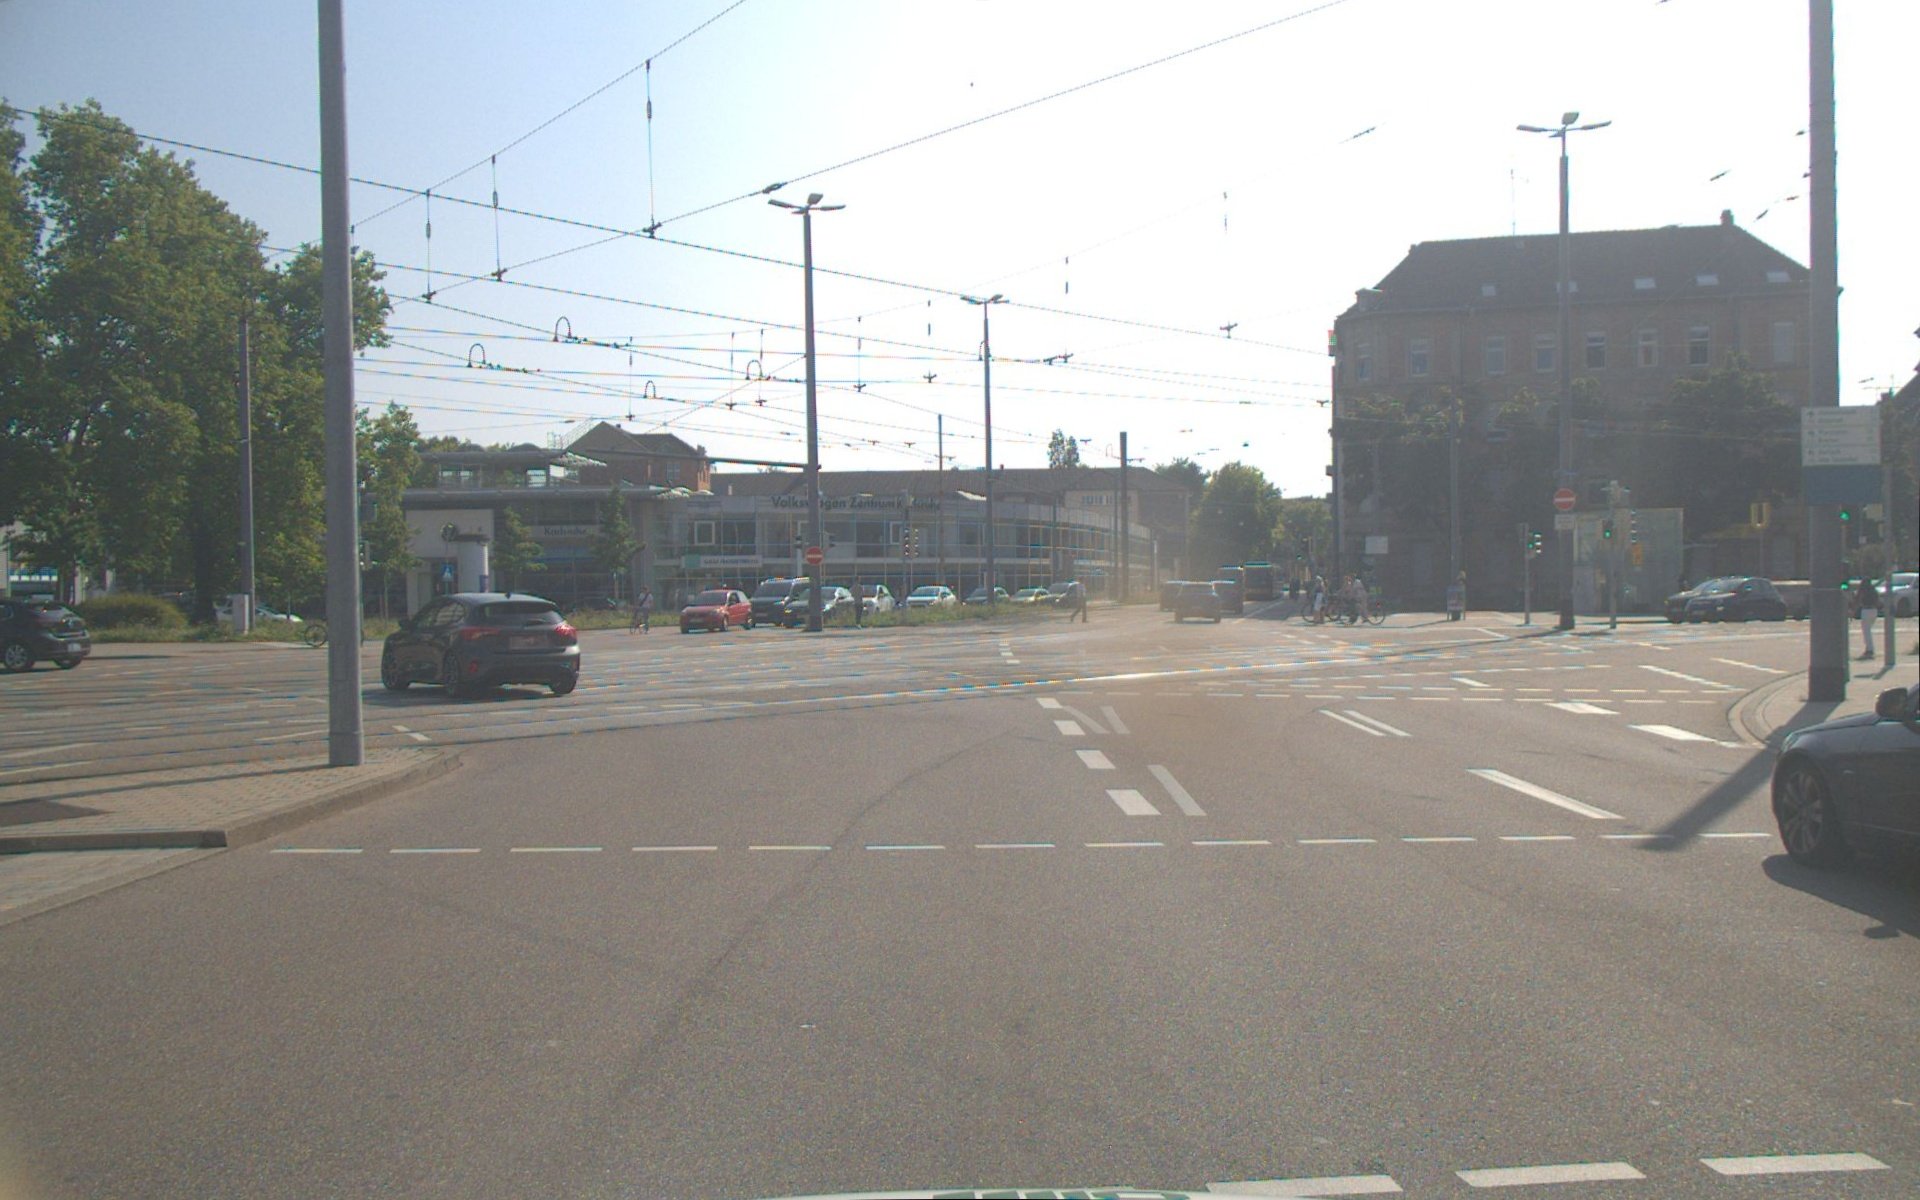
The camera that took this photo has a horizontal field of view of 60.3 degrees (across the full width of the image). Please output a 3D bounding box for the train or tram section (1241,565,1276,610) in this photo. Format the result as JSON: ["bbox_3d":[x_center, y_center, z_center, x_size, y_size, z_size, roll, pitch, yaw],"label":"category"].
[{"bbox_3d":[26.298,-1.158,145.222,2.598,3.763,10.599,-1,1,12],"label":"train or tram section"}]

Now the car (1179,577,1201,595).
[{"bbox_3d":[21.037,-1.270,151.503,1.580,1.501,4.003,-3,0,13],"label":"car"}]

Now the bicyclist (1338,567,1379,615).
[{"bbox_3d":[14.447,-0.328,59.954,0.928,1.738,1.077,-1,0,-40],"label":"bicyclist"}]

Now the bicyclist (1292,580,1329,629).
[{"bbox_3d":[13.554,0.168,63.947,0.923,1.831,1.084,-1,0,-26],"label":"bicyclist"}]

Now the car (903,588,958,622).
[{"bbox_3d":[-1.364,0.206,77.387,1.580,1.501,4.003,-3,0,13],"label":"car"}]

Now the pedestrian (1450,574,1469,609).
[{"bbox_3d":[21.183,-0.365,70.160,0.537,1.496,0.664,-1,0,43],"label":"pedestrian"}]

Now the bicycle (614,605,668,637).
[{"bbox_3d":[-11.460,0.745,59.499,0.937,1.075,2.610,0,0,13],"label":"bicycle"}]

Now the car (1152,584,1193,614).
[{"bbox_3d":[11.587,-0.063,90.018,1.786,1.562,4.416,-1,1,13],"label":"car"}]

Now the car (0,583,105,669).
[{"bbox_3d":[-19.396,0.597,32.508,4.290,1.518,1.680,-4,-2,-18],"label":"car"}]

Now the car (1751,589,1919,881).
[{"bbox_3d":[5.718,0.689,7.975,1.648,1.468,4.371,-1,0,-1],"label":"car"}]

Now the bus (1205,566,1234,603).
[{"bbox_3d":[27.412,-1.629,175.126,2.858,3.682,16.760,0,0,8],"label":"bus"}]

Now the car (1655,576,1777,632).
[{"bbox_3d":[26.628,0.111,58.236,4.193,1.891,1.890,-1,0,-31],"label":"car"}]

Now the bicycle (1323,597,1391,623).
[{"bbox_3d":[15.761,0.401,65.644,2.587,0.981,1.084,-1,1,-27],"label":"bicycle"}]

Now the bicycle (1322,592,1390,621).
[{"bbox_3d":[14.323,0.217,59.836,2.602,0.981,1.077,-1,1,-41],"label":"bicycle"}]

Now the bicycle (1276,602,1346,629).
[{"bbox_3d":[13.572,0.596,63.959,2.587,0.981,1.084,-1,1,-27],"label":"bicycle"}]

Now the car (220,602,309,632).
[{"bbox_3d":[-36.900,0.885,87.767,4.001,1.549,1.706,0,0,2],"label":"car"}]

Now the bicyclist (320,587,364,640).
[{"bbox_3d":[-18.692,0.406,50.019,1.144,1.554,0.956,-1,0,-17],"label":"bicyclist"}]

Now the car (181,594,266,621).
[{"bbox_3d":[-43.497,0.435,97.728,1.667,1.549,4.508,0,0,28],"label":"car"}]

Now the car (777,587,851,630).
[{"bbox_3d":[-5.422,0.290,61.760,1.580,1.501,4.004,-3,0,12],"label":"car"}]

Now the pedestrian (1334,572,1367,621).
[{"bbox_3d":[14.871,-0.146,62.972,0.921,1.828,0.846,-1,0,-44],"label":"pedestrian"}]

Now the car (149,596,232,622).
[{"bbox_3d":[-46.598,0.525,100.252,1.667,1.549,4.508,0,0,28],"label":"car"}]

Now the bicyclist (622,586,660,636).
[{"bbox_3d":[-11.472,0.399,59.451,0.937,1.779,1.167,0,0,13],"label":"bicyclist"}]

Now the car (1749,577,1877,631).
[{"bbox_3d":[31.059,0.112,60.195,4.642,1.891,1.892,-1,0,-29],"label":"car"}]

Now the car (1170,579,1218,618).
[{"bbox_3d":[9.261,-0.094,65.390,1.786,1.453,4.416,-1,1,8],"label":"car"}]

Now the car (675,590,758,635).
[{"bbox_3d":[-8.727,0.419,59.534,1.580,1.501,4.004,-3,0,12],"label":"car"}]

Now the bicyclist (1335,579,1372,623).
[{"bbox_3d":[15.589,0.030,65.548,0.923,1.709,1.084,-1,0,-26],"label":"bicyclist"}]

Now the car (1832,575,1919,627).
[{"bbox_3d":[35.390,0.029,62.721,4.602,1.891,2.024,-1,0,-31],"label":"car"}]

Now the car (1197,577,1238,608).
[{"bbox_3d":[12.789,-0.382,81.988,1.786,1.453,4.416,-1,1,11],"label":"car"}]

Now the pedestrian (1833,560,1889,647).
[{"bbox_3d":[18.146,0.058,33.297,0.903,1.719,0.835,0,0,34],"label":"pedestrian"}]

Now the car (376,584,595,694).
[{"bbox_3d":[-7.137,0.522,24.557,1.816,1.460,4.495,-1,0,-34],"label":"car"}]

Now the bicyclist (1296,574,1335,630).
[{"bbox_3d":[13.252,0.062,61.639,0.928,2.059,1.077,-1,0,-40],"label":"bicyclist"}]

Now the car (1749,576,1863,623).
[{"bbox_3d":[34.942,-0.030,68.318,4.201,1.891,1.919,-1,0,-22],"label":"car"}]

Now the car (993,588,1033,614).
[{"bbox_3d":[3.215,0.045,99.881,1.580,1.501,4.003,-3,0,13],"label":"car"}]

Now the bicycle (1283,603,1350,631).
[{"bbox_3d":[13.294,0.615,61.667,2.602,0.981,1.077,-1,1,-41],"label":"bicycle"}]

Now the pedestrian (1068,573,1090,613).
[{"bbox_3d":[4.616,-0.260,64.088,0.762,1.529,0.710,-1,0,-2],"label":"pedestrian"}]

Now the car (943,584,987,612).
[{"bbox_3d":[0.295,-0.119,92.733,1.580,1.501,4.003,-3,0,13],"label":"car"}]

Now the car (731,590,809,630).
[{"bbox_3d":[-7.640,0.390,66.851,1.918,1.501,4.004,-3,0,12],"label":"car"}]

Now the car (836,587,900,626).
[{"bbox_3d":[-3.756,0.238,68.295,1.580,1.501,4.004,-3,0,12],"label":"car"}]

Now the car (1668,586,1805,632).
[{"bbox_3d":[25.317,0.279,53.933,4.329,1.421,2.003,-1,0,-31],"label":"car"}]

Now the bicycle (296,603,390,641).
[{"bbox_3d":[-18.655,0.655,50.068,2.558,1.075,0.956,-1,0,-17],"label":"bicycle"}]
